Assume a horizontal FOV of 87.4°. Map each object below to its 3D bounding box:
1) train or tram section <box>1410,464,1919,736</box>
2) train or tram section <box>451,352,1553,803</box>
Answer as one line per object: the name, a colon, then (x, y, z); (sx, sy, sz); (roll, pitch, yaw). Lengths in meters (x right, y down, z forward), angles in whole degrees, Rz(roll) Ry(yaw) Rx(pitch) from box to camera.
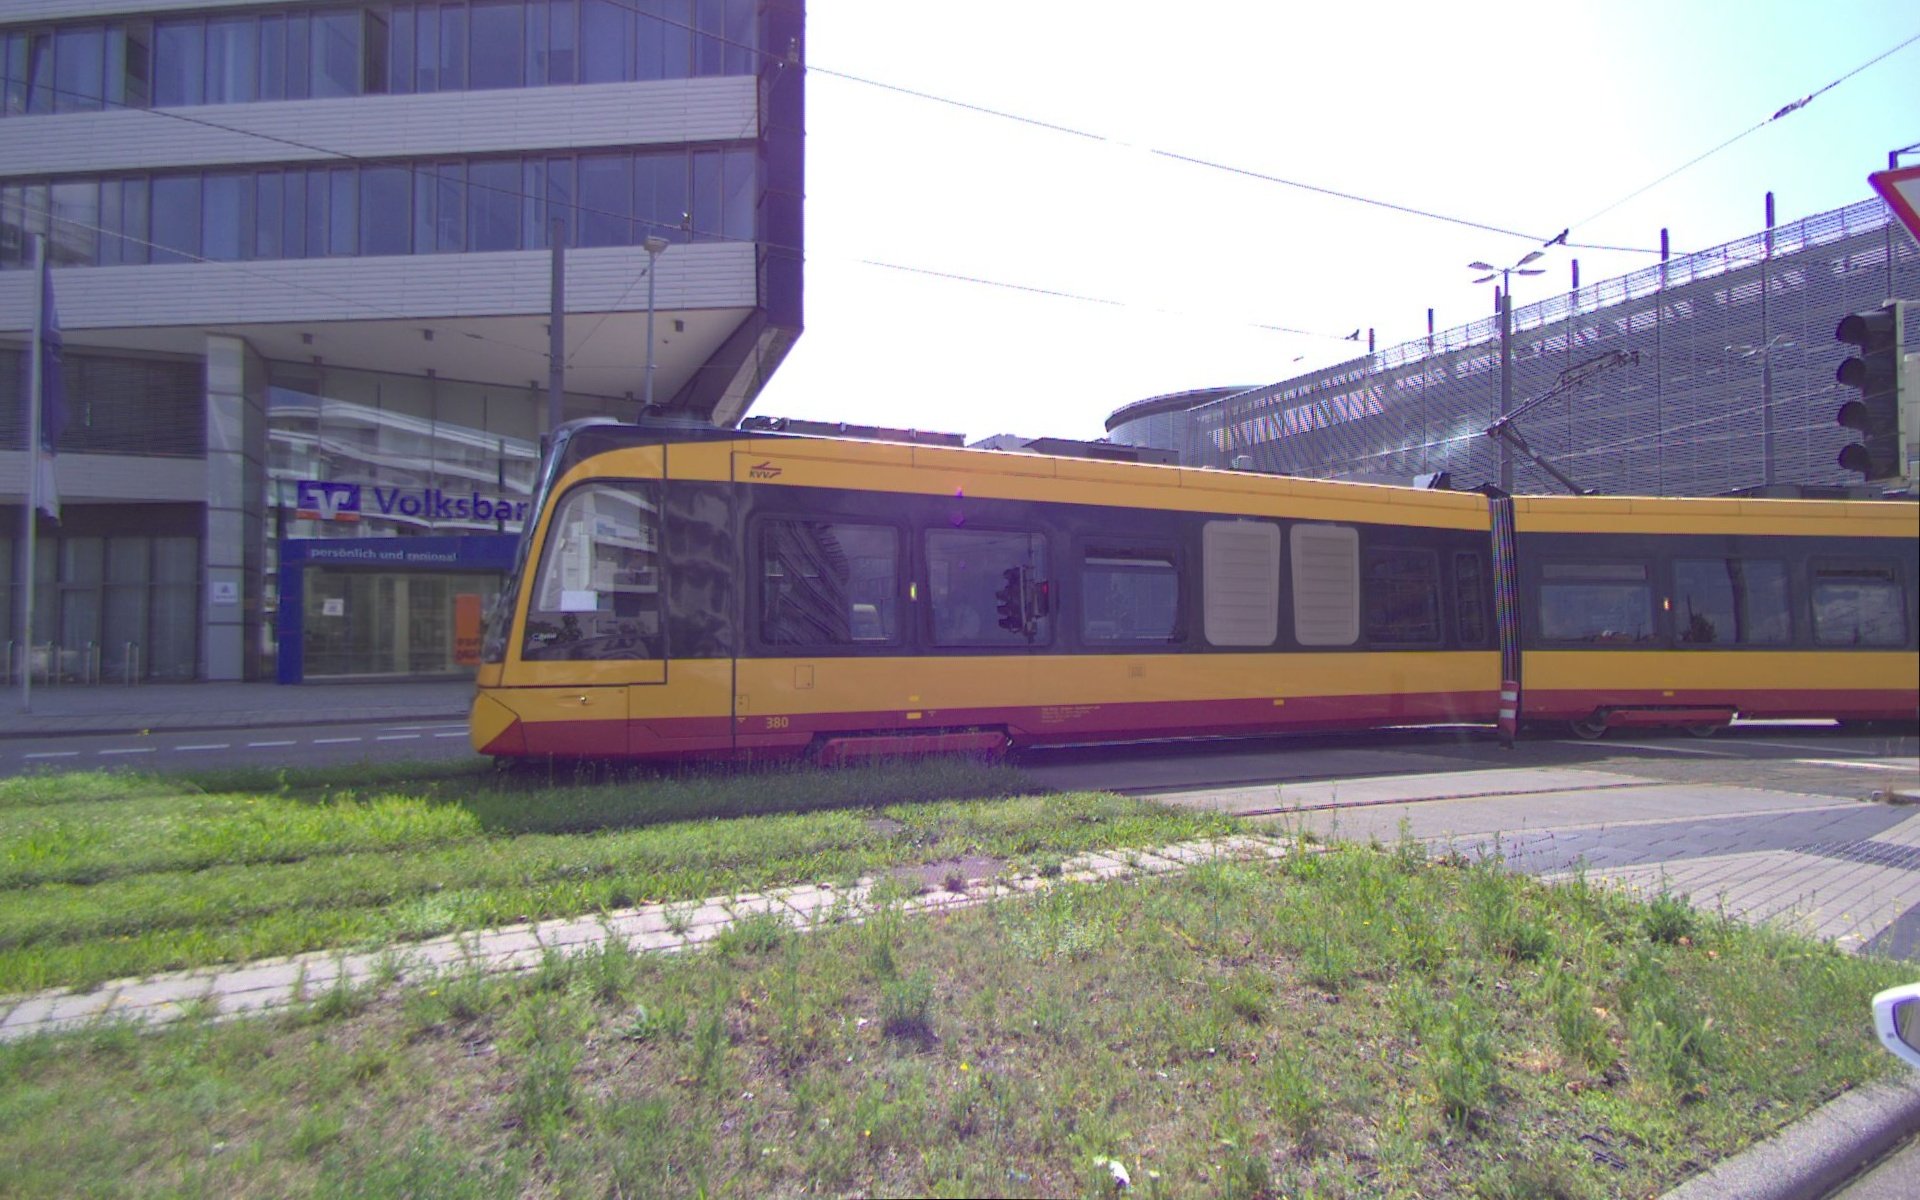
train or tram section: (12.946, 0.066, 15.511); (10.784, 3.650, 3.064); (0, -3, -5)
train or tram section: (1.331, -0.010, 12.354); (13.315, 3.646, 3.208); (1, -3, -25)
